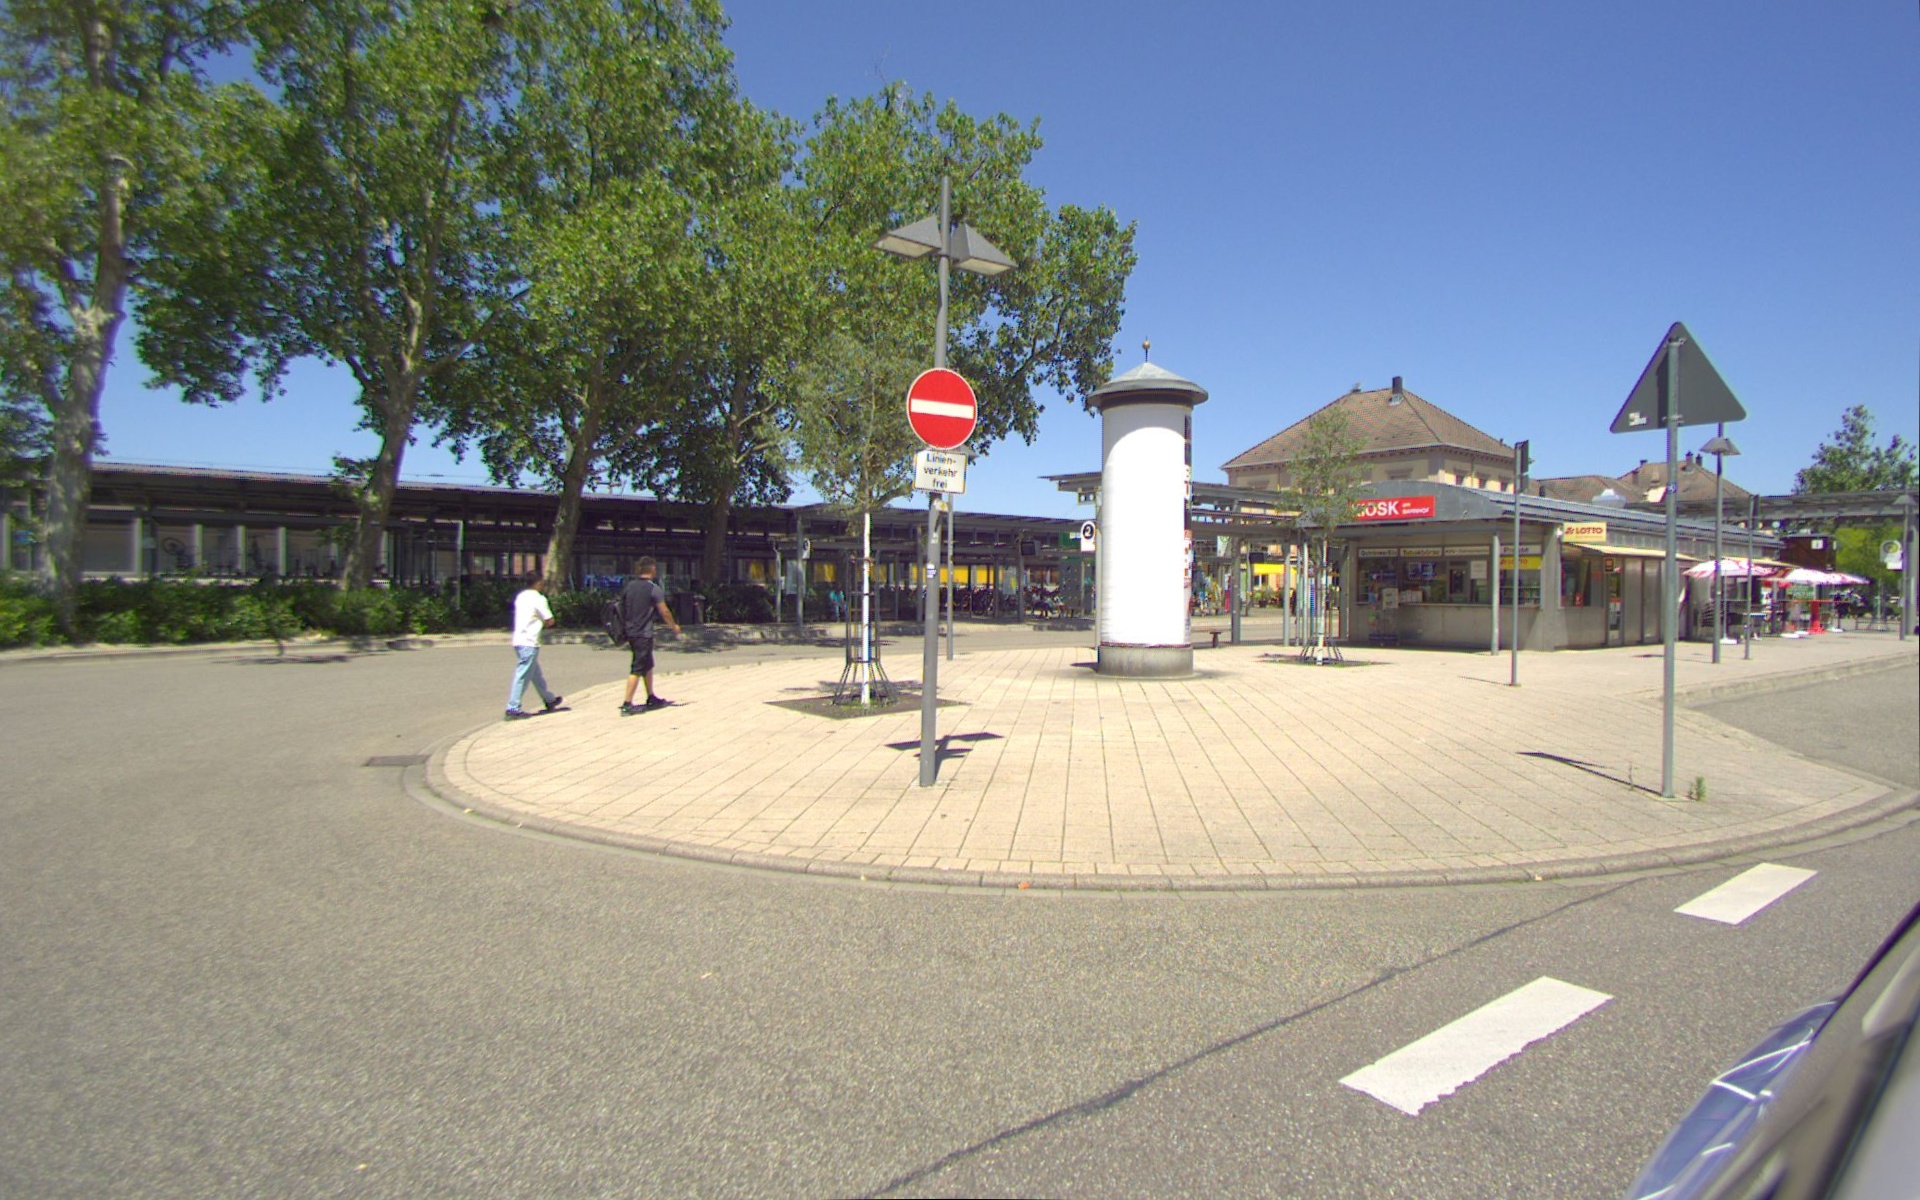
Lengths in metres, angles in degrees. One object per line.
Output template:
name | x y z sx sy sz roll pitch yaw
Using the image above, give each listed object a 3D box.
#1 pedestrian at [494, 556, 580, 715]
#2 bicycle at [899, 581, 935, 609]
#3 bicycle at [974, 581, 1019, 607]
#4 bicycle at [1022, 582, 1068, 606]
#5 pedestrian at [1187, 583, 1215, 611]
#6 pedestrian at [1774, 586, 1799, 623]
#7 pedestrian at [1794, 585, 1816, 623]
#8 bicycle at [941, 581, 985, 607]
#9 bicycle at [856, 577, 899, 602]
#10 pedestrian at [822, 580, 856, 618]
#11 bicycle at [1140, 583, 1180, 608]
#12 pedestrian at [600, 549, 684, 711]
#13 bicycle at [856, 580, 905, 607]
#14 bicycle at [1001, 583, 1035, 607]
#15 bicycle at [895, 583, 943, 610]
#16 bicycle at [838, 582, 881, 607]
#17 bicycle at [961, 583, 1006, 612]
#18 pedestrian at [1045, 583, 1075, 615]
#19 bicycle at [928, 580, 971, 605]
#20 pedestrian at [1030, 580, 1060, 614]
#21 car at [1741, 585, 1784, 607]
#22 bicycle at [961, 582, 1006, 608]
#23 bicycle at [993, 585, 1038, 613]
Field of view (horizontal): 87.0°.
pedestrian | -4.905 0.386 11.717 0.896 1.758 0.677 0 0 -25
bicycle | -1.874 -0.232 44.409 0.663 1.086 2.153 0 5 25
bicycle | 1.709 -0.293 47.413 2.129 1.086 0.671 -4 5 -34
bicycle | 4.281 -0.307 50.953 2.156 1.086 0.853 2 5 36
pedestrian | 11.386 -0.153 47.800 0.815 1.321 0.963 0 1 -36
pedestrian | 27.192 0.137 33.295 0.462 1.226 0.490 0 0 -31
pedestrian | 27.753 0.118 33.227 0.504 1.247 0.503 0 0 -43
bicycle | 0.134 -0.309 49.680 2.129 1.086 0.671 -4 5 -34
bicycle | -3.907 -0.514 47.845 2.160 1.086 0.661 2 5 40
pedestrian | -4.269 -0.045 35.707 0.853 1.291 0.830 0 1 -41
bicycle | 9.920 -0.233 50.287 0.657 1.086 2.172 -4 5 -32
pedestrian | -3.679 0.328 11.719 0.896 1.807 0.696 0 0 -18
bicycle | -3.621 -0.292 46.054 2.128 1.086 0.671 -4 5 -33
bicycle | 3.018 -0.279 52.924 0.657 1.086 2.172 -4 5 -32
bicycle | -1.865 -0.155 45.986 2.129 1.086 0.671 -4 5 -34
bicycle | -4.681 -0.262 47.185 2.160 1.086 0.661 2 5 40
bicycle | 0.974 -0.113 42.990 0.659 1.086 2.168 -4 5 -39
pedestrian | 4.187 -0.065 42.241 0.815 1.321 0.963 0 1 -36
bicycle | -0.510 -0.372 50.688 2.129 1.086 0.671 -4 5 -34
pedestrian | 3.487 -0.130 41.702 0.815 1.403 0.963 0 1 -36
car | 69.825 -0.366 88.047 3.926 1.904 1.999 0 1 -37
bicycle | 1.137 -0.257 48.318 2.129 1.086 0.671 -4 5 -34
bicycle | 2.392 -0.050 44.011 0.659 1.086 2.168 -4 5 -39
